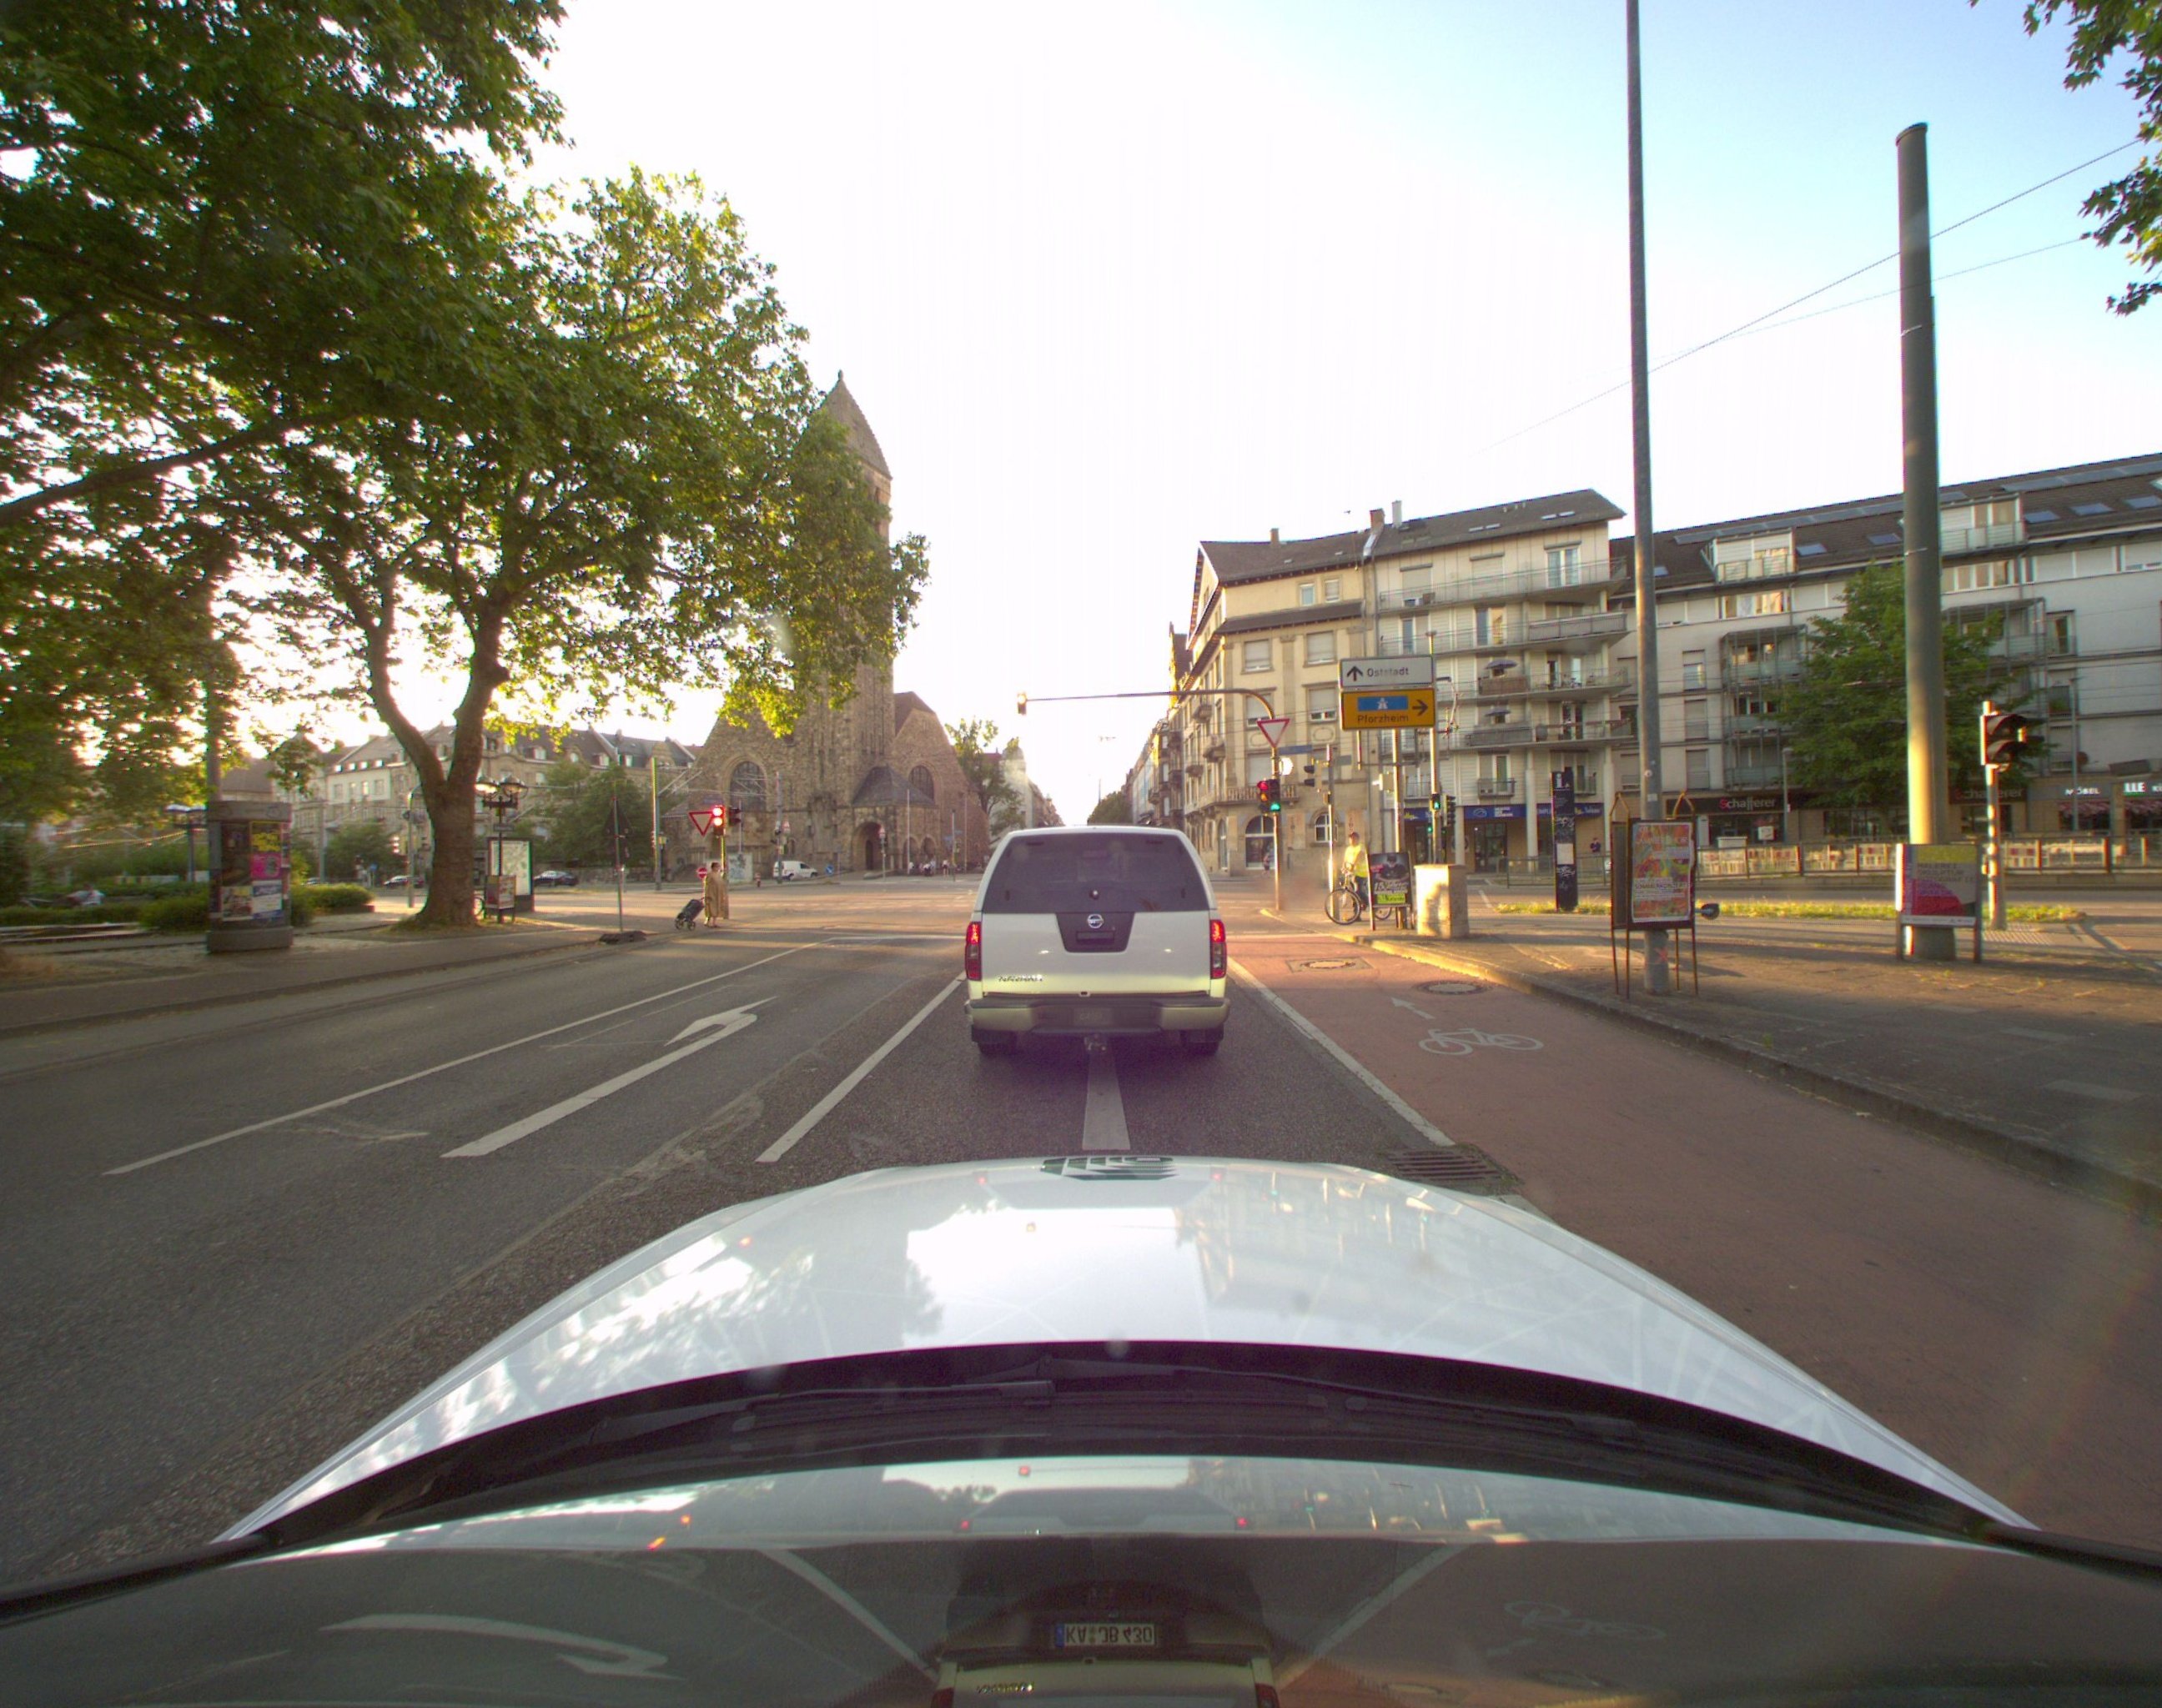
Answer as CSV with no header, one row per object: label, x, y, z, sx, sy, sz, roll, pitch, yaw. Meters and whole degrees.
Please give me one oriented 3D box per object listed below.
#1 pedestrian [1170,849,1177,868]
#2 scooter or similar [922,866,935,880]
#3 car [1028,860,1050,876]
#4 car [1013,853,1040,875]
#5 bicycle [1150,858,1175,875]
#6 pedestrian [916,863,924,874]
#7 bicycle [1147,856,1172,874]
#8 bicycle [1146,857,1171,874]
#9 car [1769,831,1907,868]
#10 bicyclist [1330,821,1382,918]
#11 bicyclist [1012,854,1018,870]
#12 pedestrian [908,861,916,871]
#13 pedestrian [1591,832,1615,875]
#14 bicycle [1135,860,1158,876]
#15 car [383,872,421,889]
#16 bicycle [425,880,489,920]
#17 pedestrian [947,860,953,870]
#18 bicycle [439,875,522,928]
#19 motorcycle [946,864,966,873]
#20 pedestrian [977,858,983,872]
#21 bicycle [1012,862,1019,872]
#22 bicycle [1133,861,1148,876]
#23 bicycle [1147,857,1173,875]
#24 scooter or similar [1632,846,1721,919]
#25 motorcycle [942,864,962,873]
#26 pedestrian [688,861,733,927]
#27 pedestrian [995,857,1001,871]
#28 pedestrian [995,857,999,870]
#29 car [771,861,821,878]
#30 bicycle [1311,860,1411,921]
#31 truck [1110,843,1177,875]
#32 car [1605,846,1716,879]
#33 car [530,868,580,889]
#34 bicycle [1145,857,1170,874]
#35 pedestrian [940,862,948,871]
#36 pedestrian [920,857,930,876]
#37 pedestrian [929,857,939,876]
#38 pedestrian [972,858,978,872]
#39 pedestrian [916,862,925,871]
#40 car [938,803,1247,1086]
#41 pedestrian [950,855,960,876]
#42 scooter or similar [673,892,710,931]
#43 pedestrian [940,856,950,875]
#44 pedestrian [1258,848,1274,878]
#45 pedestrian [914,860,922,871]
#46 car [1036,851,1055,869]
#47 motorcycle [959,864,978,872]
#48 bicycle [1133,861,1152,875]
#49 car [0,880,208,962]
pedestrian,8.529,0.416,75.089,0.525,1.654,0.547,0,-1,1
scooter or similar,-13.629,1.670,72.799,0.629,1.103,1.083,-2,4,14
car,-4.232,1.398,83.370,1.987,1.558,4.767,-2,0,0
car,-4.736,0.863,71.079,1.987,1.784,4.798,0,0,0
bicycle,6.217,0.927,62.253,1.812,1.150,0.636,-5,-1,-1
pedestrian,-15.131,1.373,76.406,0.473,0.960,0.526,-1,-1,31
bicycle,6.230,0.887,64.633,1.812,1.238,0.412,-5,-1,-1
bicycle,6.107,0.912,63.909,1.812,1.238,0.477,-5,-1,-1
car,32.685,-0.163,35.317,3.952,1.486,1.859,-1,-1,21
bicyclist,5.289,0.295,15.649,0.701,1.824,0.622,0,-1,-31
bicyclist,-7.008,0.874,86.490,0.596,1.645,0.964,-1,-1,2
pedestrian,-15.658,1.091,75.526,0.517,0.960,0.482,-1,-1,21
pedestrian,27.128,-0.042,42.334,0.860,2.209,0.825,-1,-1,21
bicycle,5.046,1.071,62.743,1.721,1.083,0.317,-5,-1,-1
car,-67.596,2.628,81.070,3.948,1.684,2.013,-1,-1,36
bicycle,-18.048,1.307,23.592,0.456,1.093,1.798,0,-1,0
pedestrian,-12.955,1.113,80.742,0.522,0.960,0.477,0,-1,-14
bicycle,-15.820,1.225,21.512,0.522,1.326,1.998,-1,-1,7
motorcycle,-14.431,1.641,94.255,2.239,0.988,0.707,0,-1,-4
pedestrian,-12.447,1.322,100.319,0.640,1.695,0.562,0,-1,1
bicycle,-6.981,1.327,86.458,0.597,1.043,1.945,0,-1,0
bicycle,4.652,1.131,63.636,1.073,1.024,0.317,-4,-1,-1
bicycle,6.126,0.940,63.196,1.812,1.238,0.488,-5,-1,-1
scooter or similar,10.628,0.501,14.545,1.219,1.249,0.518,-1,-1,41
motorcycle,-14.591,1.615,92.230,2.239,0.988,0.707,0,-1,-4
pedestrian,-9.375,0.999,20.643,0.800,1.628,0.773,0,-1,-3
pedestrian,-10.810,1.311,106.289,0.643,1.855,0.559,0,-1,-13
pedestrian,-11.034,1.241,107.135,0.559,1.695,0.643,0,-1,-6
car,-26.340,1.391,75.365,1.698,1.517,4.481,-1,-1,26
bicycle,5.431,0.671,15.738,2.079,1.109,0.622,0,-1,-31
truck,5.334,0.426,68.845,5.704,2.565,2.260,0,-1,-42
car,26.883,0.399,37.926,3.950,1.486,1.860,-1,-1,26
car,-46.802,2.203,72.524,3.949,1.618,2.012,-4,-3,27
bicycle,6.151,0.906,65.771,1.849,1.238,0.530,-5,-1,-1
pedestrian,-14.986,1.372,89.192,0.547,0.960,0.713,-1,-1,22
pedestrian,-14.167,1.123,73.947,0.630,1.698,0.604,-1,-1,9
pedestrian,-13.322,1.131,73.767,0.629,1.698,0.605,-1,-1,12
pedestrian,-12.749,1.335,98.121,0.642,1.695,0.560,0,-1,-7
pedestrian,-17.080,1.356,86.747,0.700,0.960,0.557,-1,-1,28
car,0.132,0.609,7.247,1.986,1.809,4.001,0,-1,2
pedestrian,-11.433,1.079,73.915,0.809,1.901,0.666,0,-1,-1
scooter or similar,-9.408,1.377,19.700,0.591,0.898,0.849,0,-1,-9
pedestrian,-12.352,1.038,73.959,0.809,1.669,0.859,0,-1,-1
pedestrian,11.162,0.525,49.125,0.779,1.779,0.546,-1,-1,27
pedestrian,-15.046,1.081,75.236,0.517,0.960,0.482,-1,-1,21
car,-4.249,0.761,98.031,1.987,2.014,4.950,-2,-2,0
motorcycle,-13.337,1.663,96.519,2.146,0.988,0.597,-1,-1,21
bicycle,4.867,1.124,64.343,1.367,1.024,0.317,-5,-1,-1
car,-26.764,1.740,21.475,1.975,1.781,4.669,-3,1,27
